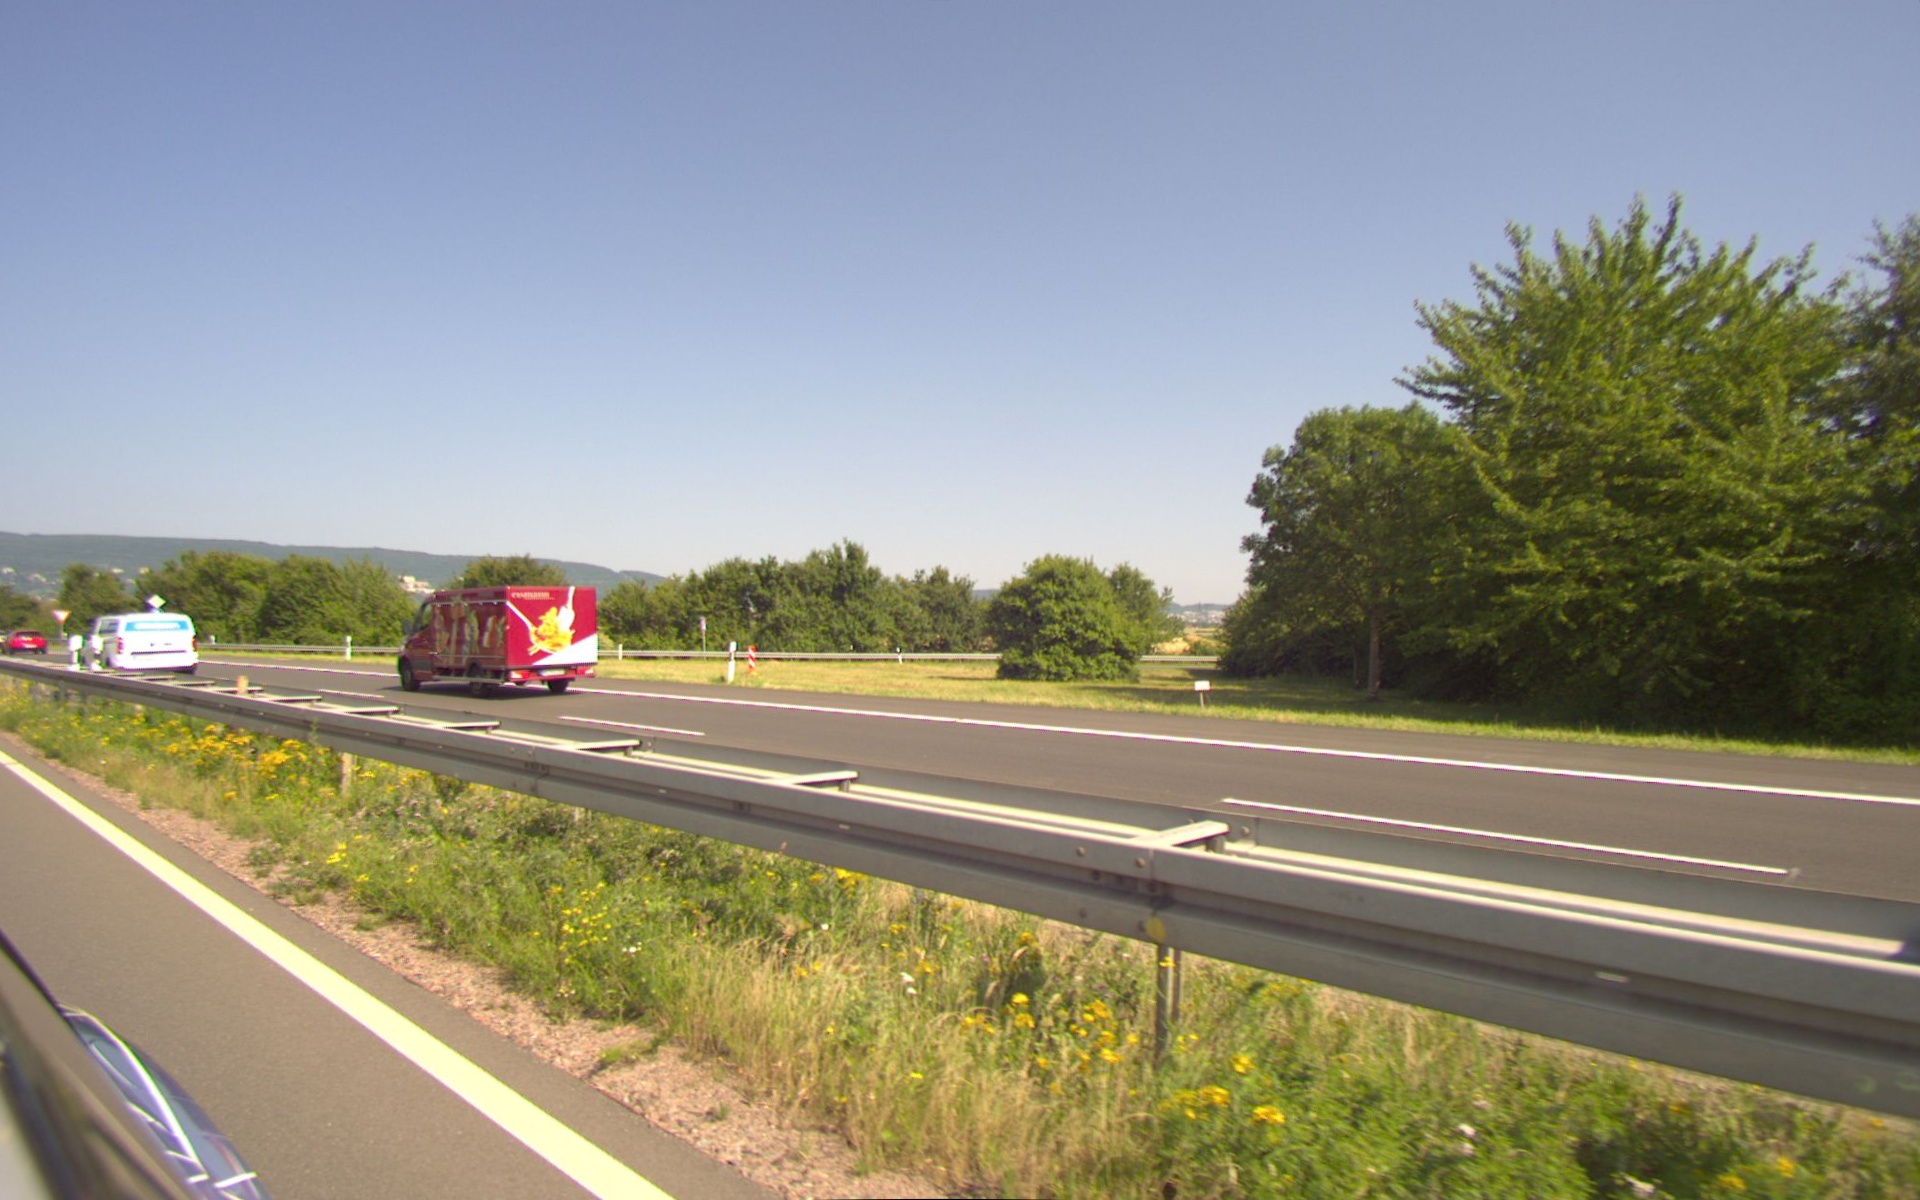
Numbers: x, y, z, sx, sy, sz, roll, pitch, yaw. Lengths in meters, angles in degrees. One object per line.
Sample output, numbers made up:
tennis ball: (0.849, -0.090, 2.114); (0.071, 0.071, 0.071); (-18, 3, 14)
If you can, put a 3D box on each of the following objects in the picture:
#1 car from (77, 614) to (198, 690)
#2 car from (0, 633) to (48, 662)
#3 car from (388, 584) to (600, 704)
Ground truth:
car: (-24.281, 1.440, 29.807); (4.515, 2.029, 1.973); (-1, 0, 40)
car: (-57.536, 2.883, 61.951); (3.997, 1.652, 1.973); (-1, 0, 40)
car: (-10.643, 0.913, 22.837); (5.878, 2.392, 2.092); (-1, 0, 41)
